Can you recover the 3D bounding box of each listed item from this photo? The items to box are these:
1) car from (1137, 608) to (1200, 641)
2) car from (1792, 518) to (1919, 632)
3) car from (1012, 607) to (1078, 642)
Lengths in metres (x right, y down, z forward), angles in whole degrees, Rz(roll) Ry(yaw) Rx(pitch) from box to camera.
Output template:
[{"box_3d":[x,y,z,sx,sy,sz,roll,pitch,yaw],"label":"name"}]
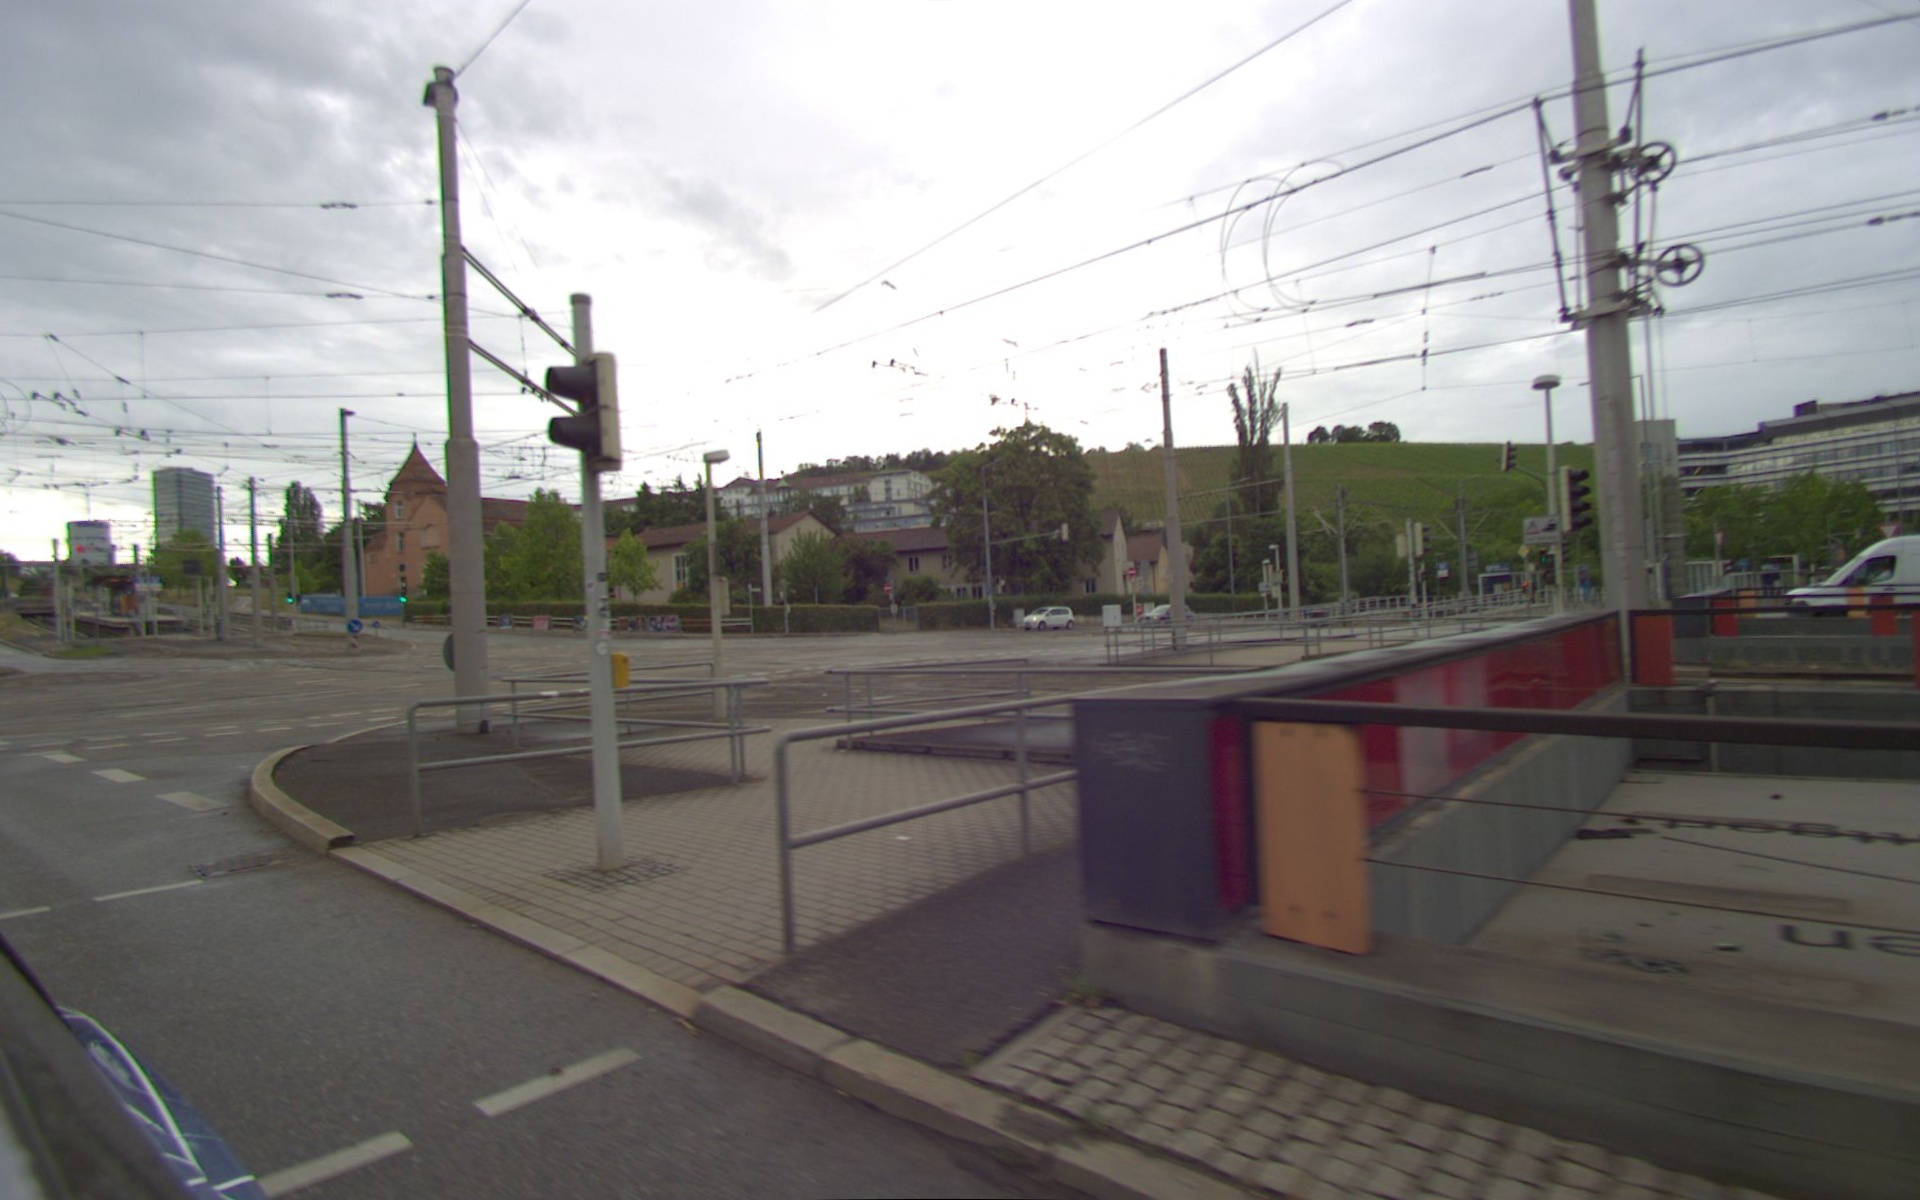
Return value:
[{"box_3d":[13.695,1.577,66.371,3.936,2.029,2.004,-1,0,-38],"label":"car"},{"box_3d":[25.021,-0.627,25.840,5.710,2.853,1.974,-1,-2,39],"label":"car"},{"box_3d":[5.517,1.521,65.246,3.936,2.028,2.004,-1,2,-38],"label":"car"}]
